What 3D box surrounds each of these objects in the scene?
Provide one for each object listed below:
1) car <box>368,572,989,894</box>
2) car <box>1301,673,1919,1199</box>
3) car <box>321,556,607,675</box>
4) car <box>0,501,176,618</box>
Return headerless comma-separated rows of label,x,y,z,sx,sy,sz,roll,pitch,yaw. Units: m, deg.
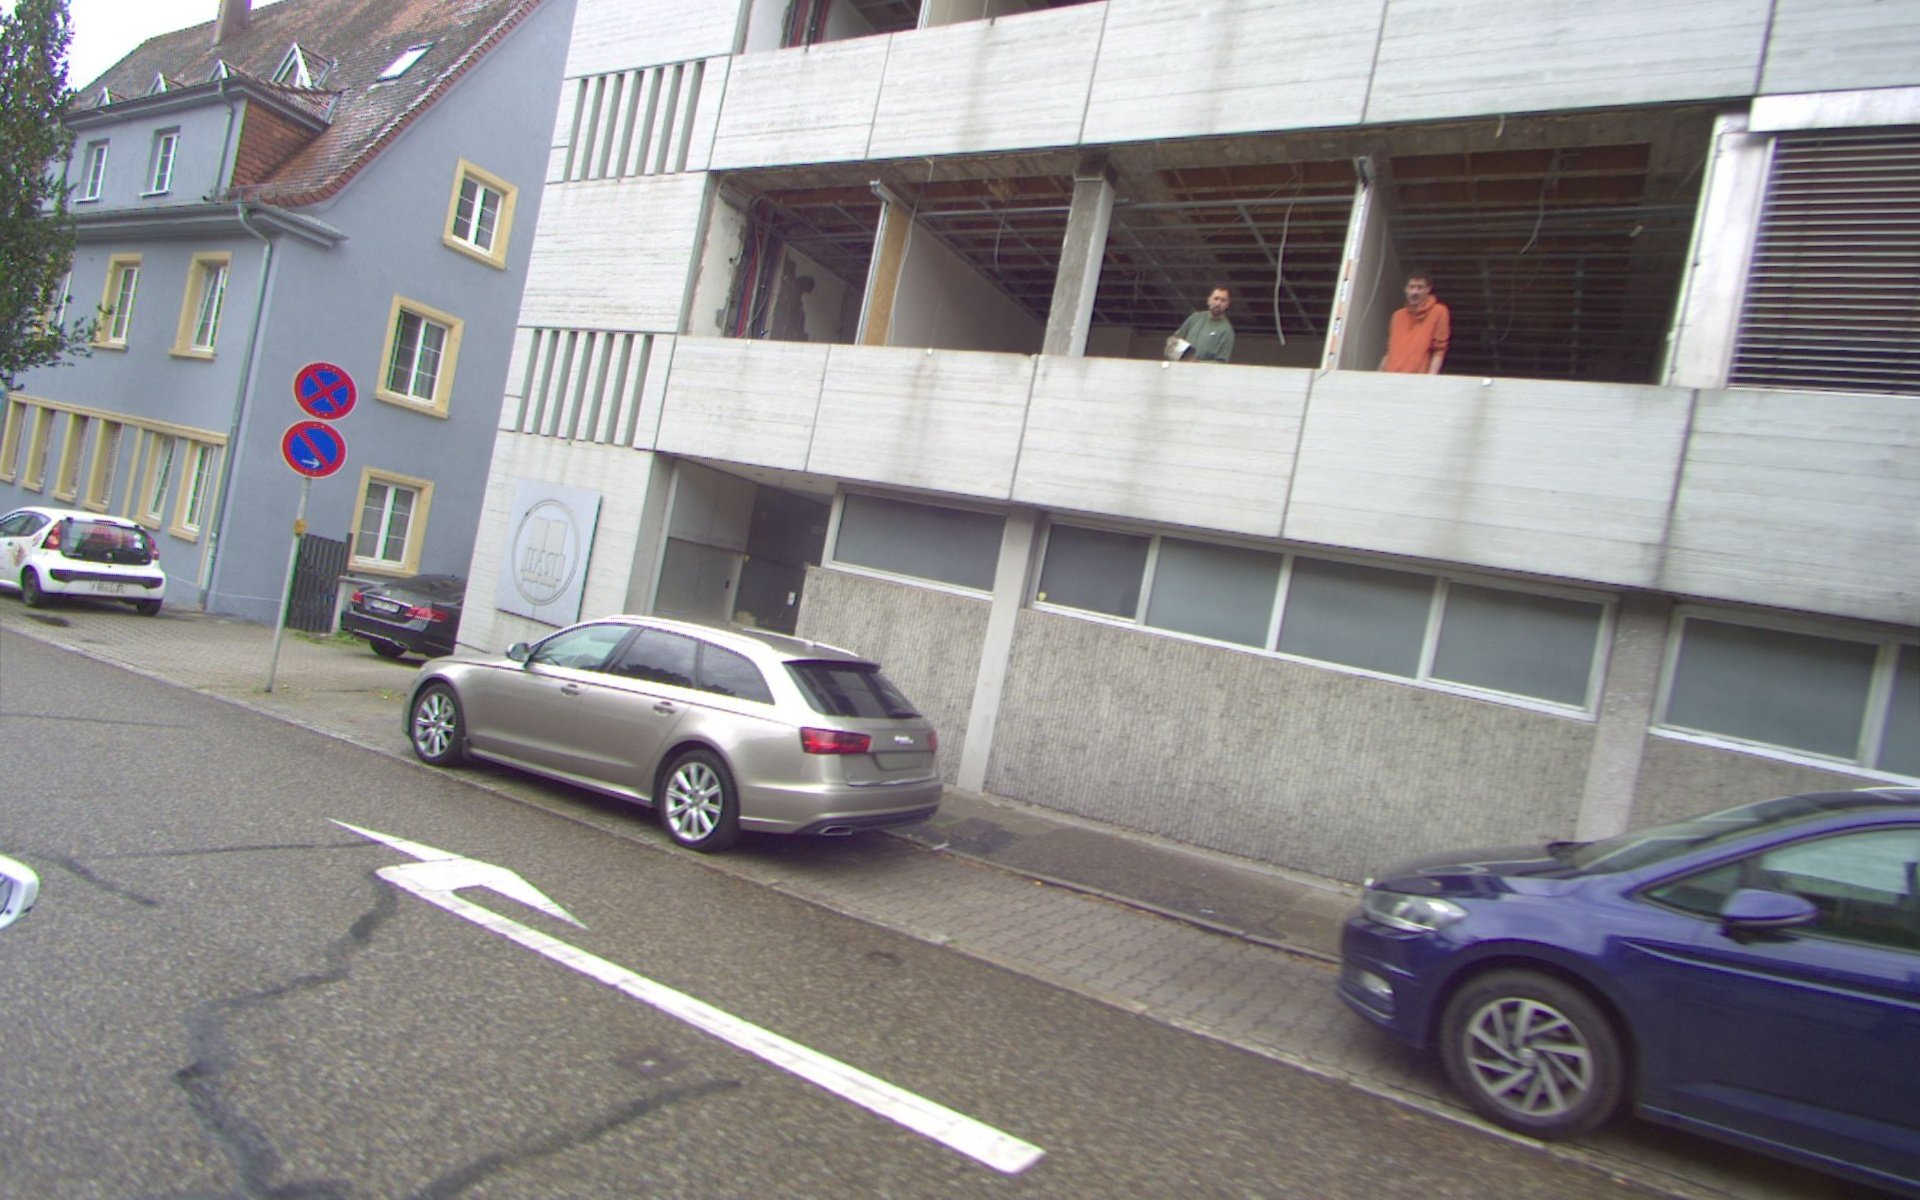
car,-2.328,0.874,7.956,4.660,1.475,1.820,7,-3,29
car,3.853,1.499,4.048,4.271,1.693,1.750,7,-3,31
car,-7.946,0.374,16.688,1.774,1.422,4.377,8,-3,12
car,-14.159,-0.696,15.760,3.396,1.428,1.591,8,-1,28
